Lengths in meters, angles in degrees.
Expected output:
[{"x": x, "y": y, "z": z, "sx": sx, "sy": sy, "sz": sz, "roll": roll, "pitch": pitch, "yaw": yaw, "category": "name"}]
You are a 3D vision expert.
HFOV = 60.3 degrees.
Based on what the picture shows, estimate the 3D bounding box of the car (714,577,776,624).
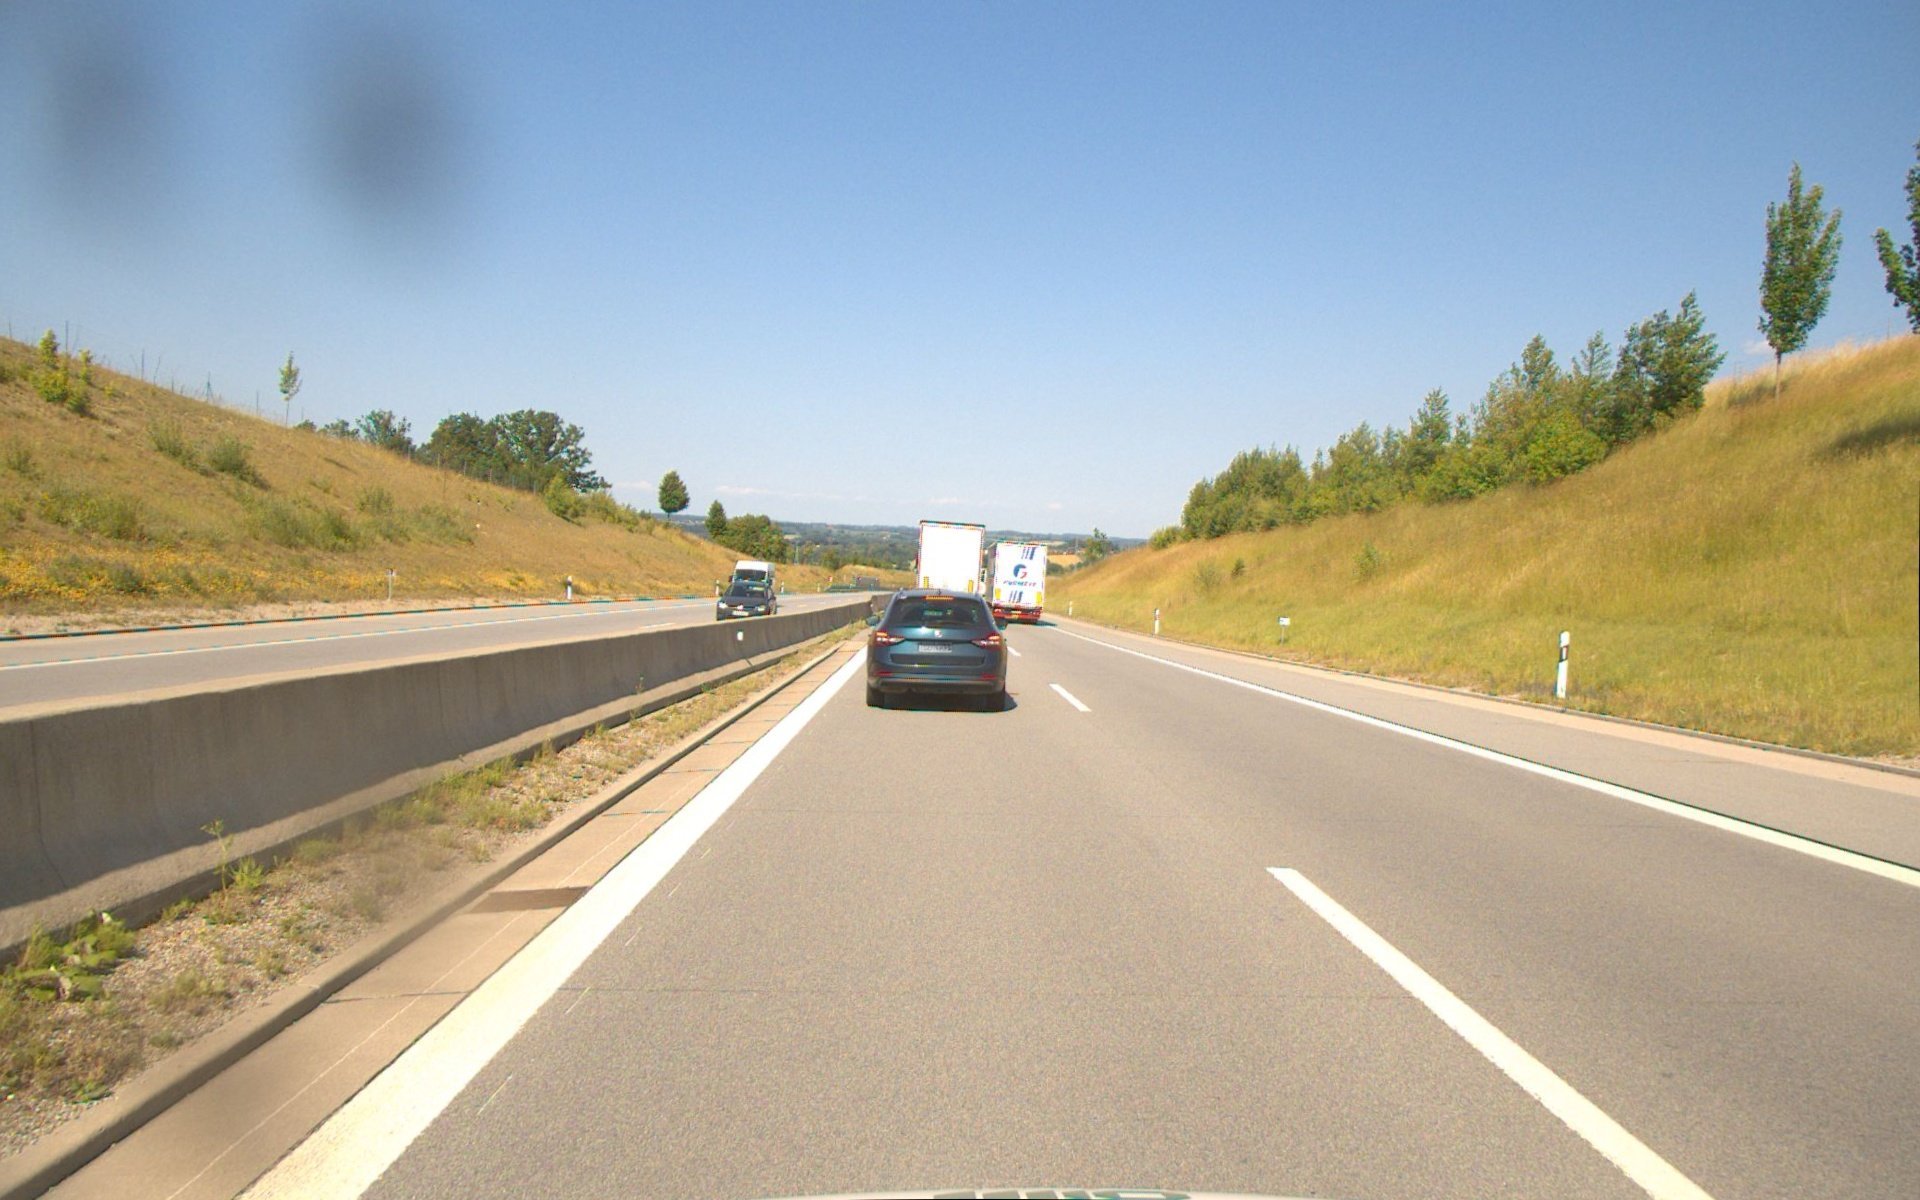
[{"x": -7.294, "y": 0.003, "z": 56.436, "sx": 1.738, "sy": 1.474, "sz": 4.181, "roll": 2, "pitch": 0, "yaw": -3, "category": "car"}]

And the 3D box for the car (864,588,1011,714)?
[{"x": -0.323, "y": 0.595, "z": 21.544, "sx": 1.741, "sy": 1.466, "sz": 3.788, "roll": 0, "pitch": 1, "yaw": -2, "category": "car"}]

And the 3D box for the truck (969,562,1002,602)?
[{"x": 3.074, "y": -2.051, "z": 192.527, "sx": 3.529, "sy": 4.458, "sz": 11.237, "roll": 1, "pitch": 0, "yaw": 2, "category": "truck"}]

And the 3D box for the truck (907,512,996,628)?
[{"x": -0.213, "y": -1.235, "z": 70.040, "sx": 3.144, "sy": 4.458, "sz": 11.237, "roll": 1, "pitch": 0, "yaw": 2, "category": "truck"}]

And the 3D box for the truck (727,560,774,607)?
[{"x": -11.836, "y": -0.929, "z": 93.944, "sx": 1.953, "sy": 2.491, "sz": 5.667, "roll": 3, "pitch": 0, "yaw": -1, "category": "truck"}]

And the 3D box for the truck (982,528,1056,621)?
[{"x": 3.081, "y": -1.293, "z": 86.776, "sx": 3.529, "sy": 4.458, "sz": 11.237, "roll": 1, "pitch": 0, "yaw": 2, "category": "truck"}]
